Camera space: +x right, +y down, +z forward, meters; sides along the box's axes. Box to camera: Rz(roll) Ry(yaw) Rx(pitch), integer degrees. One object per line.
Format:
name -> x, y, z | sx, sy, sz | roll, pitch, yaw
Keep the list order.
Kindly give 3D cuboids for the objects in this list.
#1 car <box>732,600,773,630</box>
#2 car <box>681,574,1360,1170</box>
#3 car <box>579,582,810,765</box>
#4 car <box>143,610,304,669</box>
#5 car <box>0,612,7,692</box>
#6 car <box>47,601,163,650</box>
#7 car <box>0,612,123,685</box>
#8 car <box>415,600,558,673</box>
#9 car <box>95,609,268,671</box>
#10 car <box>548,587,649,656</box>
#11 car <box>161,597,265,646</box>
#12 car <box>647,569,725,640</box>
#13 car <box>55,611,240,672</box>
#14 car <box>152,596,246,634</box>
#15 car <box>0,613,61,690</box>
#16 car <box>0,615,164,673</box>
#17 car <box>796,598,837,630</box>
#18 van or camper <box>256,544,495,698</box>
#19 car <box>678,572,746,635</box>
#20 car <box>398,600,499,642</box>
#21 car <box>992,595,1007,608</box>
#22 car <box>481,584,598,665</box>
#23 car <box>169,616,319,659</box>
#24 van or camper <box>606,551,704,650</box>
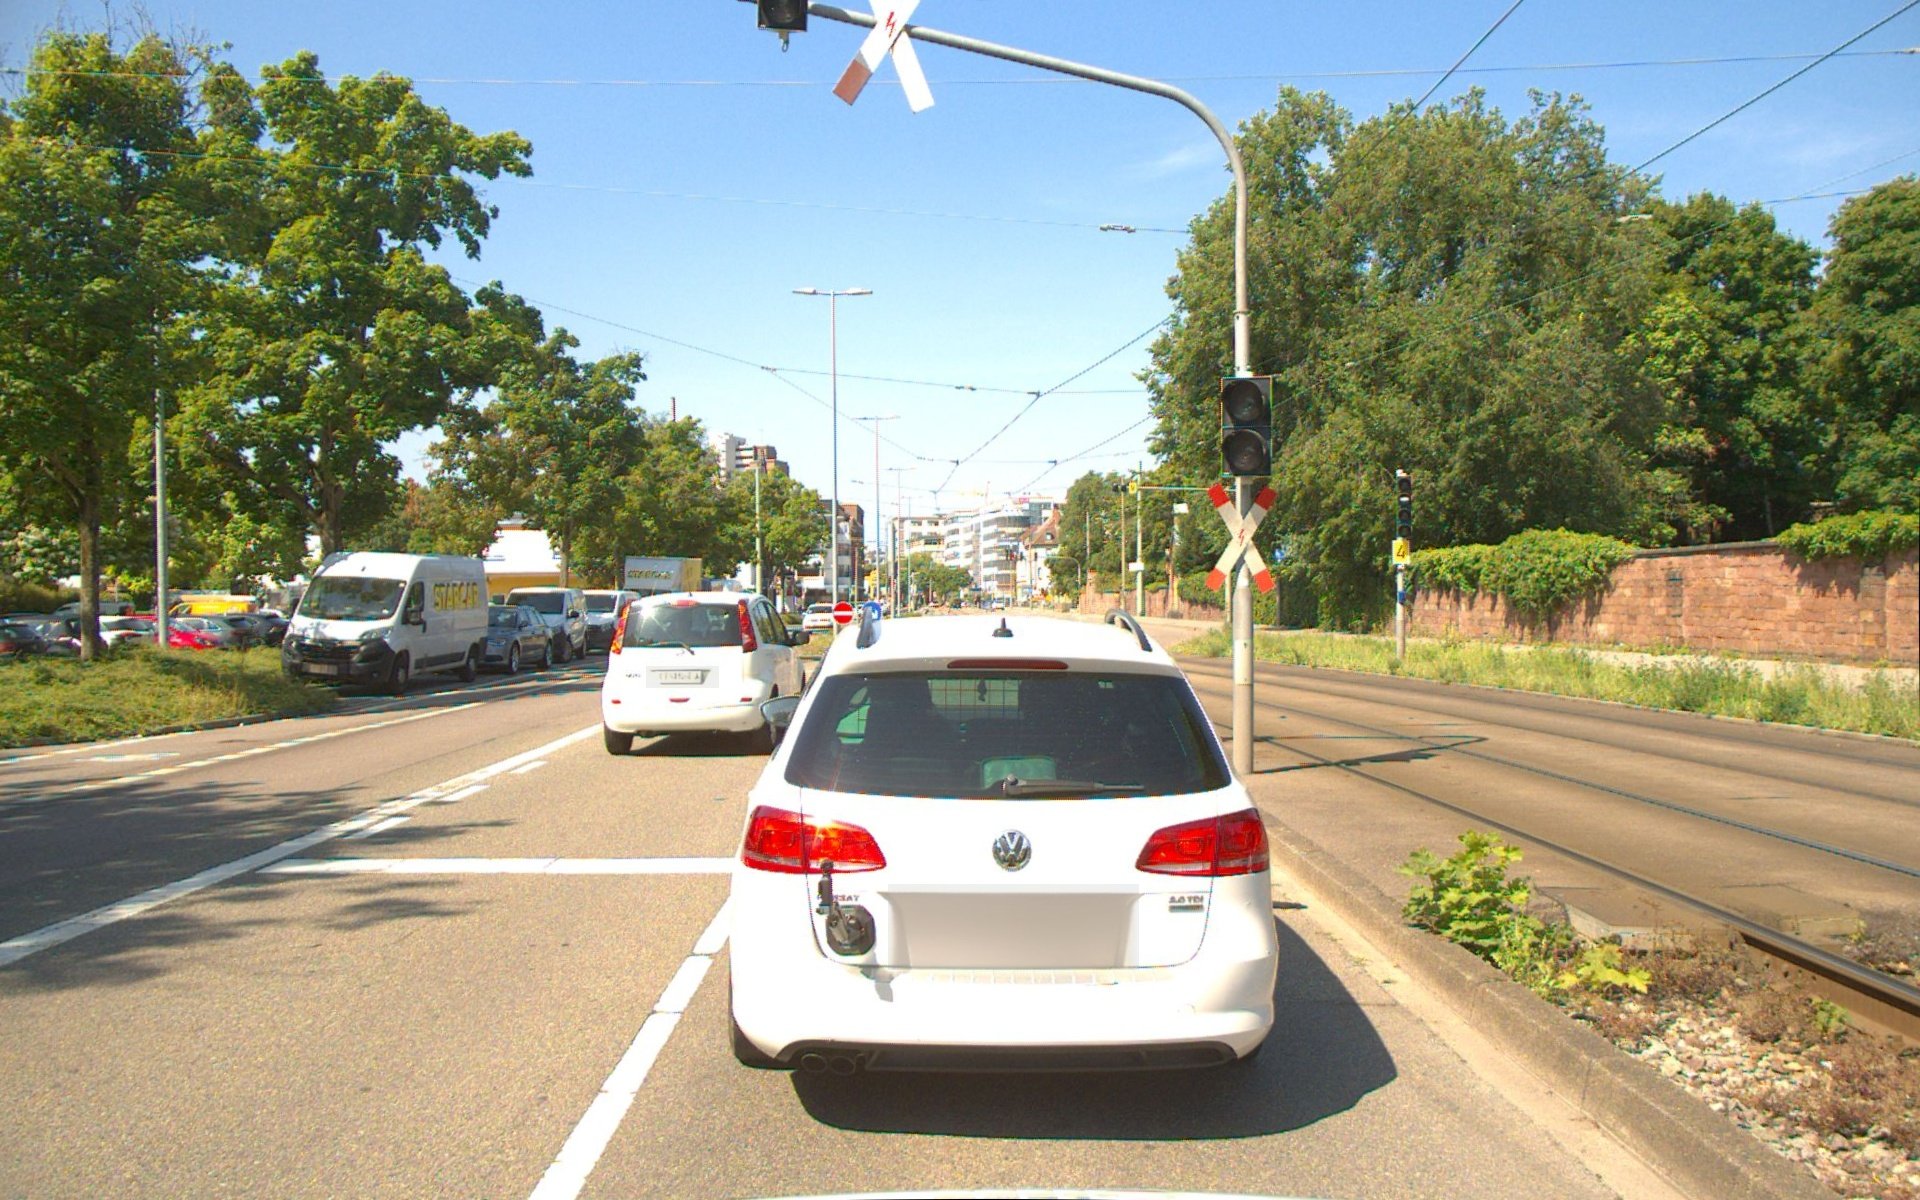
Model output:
car -> -11.285, 0.792, 90.080 | 1.571, 1.516, 4.618 | 1, 0, 1
car -> 0.156, 0.706, 6.254 | 1.742, 1.516, 3.846 | 1, 0, 0
car -> -2.558, 0.656, 16.804 | 1.695, 1.624, 4.011 | 0, 0, 0
car -> -21.414, 1.134, 48.199 | 3.906, 1.571, 1.663 | -1, 0, -2
car -> -20.907, 1.082, 31.982 | 3.907, 1.571, 1.662 | -1, 0, -3
car -> -36.386, 1.068, 70.478 | 3.908, 2.038, 1.909 | 0, 0, -5
car -> -21.540, 1.113, 37.826 | 3.906, 1.571, 1.663 | -1, 0, -2
car -> -10.668, 0.779, 37.625 | 1.893, 1.480, 4.885 | -1, 0, -1
car -> -21.340, 1.086, 45.430 | 3.906, 1.571, 1.663 | -1, 0, -2
car -> -11.062, 0.618, 50.968 | 2.152, 1.974, 5.182 | -1, 0, -3
car -> -34.074, 0.970, 75.525 | 3.908, 2.238, 1.909 | 0, 0, -5
car -> -11.060, 0.164, 67.186 | 2.151, 2.715, 6.079 | 1, 0, -1
car -> -21.038, 1.066, 42.945 | 3.906, 1.434, 1.732 | -1, 0, -2
car -> -47.469, 0.930, 103.235 | 4.831, 2.212, 2.099 | -1, 0, -4
car -> -21.223, 1.102, 34.571 | 3.907, 1.571, 1.662 | -1, 0, -3
car -> -21.663, 1.064, 40.157 | 3.836, 1.293, 1.663 | -1, 0, -2
car -> -7.079, 0.677, 81.938 | 1.692, 1.491, 3.999 | -1, 0, -1
van or camper -> -10.806, 0.351, 31.210 | 2.211, 2.558, 6.147 | -1, 0, 1
car -> -11.015, 0.145, 73.904 | 2.151, 2.676, 5.978 | 1, 0, -1
car -> -22.412, 0.901, 72.556 | 3.907, 1.724, 1.662 | -1, 0, -3
car -> 6.177, 0.207, 257.722 | 2.083, 2.049, 5.282 | -1, 0, -1
car -> -11.086, 0.605, 43.963 | 2.153, 1.974, 5.179 | -1, 0, -5
car -> -21.806, 1.123, 50.466 | 3.809, 1.174, 1.663 | -1, 0, -2
van or camper -> -10.816, 0.010, 59.260 | 2.151, 3.298, 6.772 | 1, 0, 0
